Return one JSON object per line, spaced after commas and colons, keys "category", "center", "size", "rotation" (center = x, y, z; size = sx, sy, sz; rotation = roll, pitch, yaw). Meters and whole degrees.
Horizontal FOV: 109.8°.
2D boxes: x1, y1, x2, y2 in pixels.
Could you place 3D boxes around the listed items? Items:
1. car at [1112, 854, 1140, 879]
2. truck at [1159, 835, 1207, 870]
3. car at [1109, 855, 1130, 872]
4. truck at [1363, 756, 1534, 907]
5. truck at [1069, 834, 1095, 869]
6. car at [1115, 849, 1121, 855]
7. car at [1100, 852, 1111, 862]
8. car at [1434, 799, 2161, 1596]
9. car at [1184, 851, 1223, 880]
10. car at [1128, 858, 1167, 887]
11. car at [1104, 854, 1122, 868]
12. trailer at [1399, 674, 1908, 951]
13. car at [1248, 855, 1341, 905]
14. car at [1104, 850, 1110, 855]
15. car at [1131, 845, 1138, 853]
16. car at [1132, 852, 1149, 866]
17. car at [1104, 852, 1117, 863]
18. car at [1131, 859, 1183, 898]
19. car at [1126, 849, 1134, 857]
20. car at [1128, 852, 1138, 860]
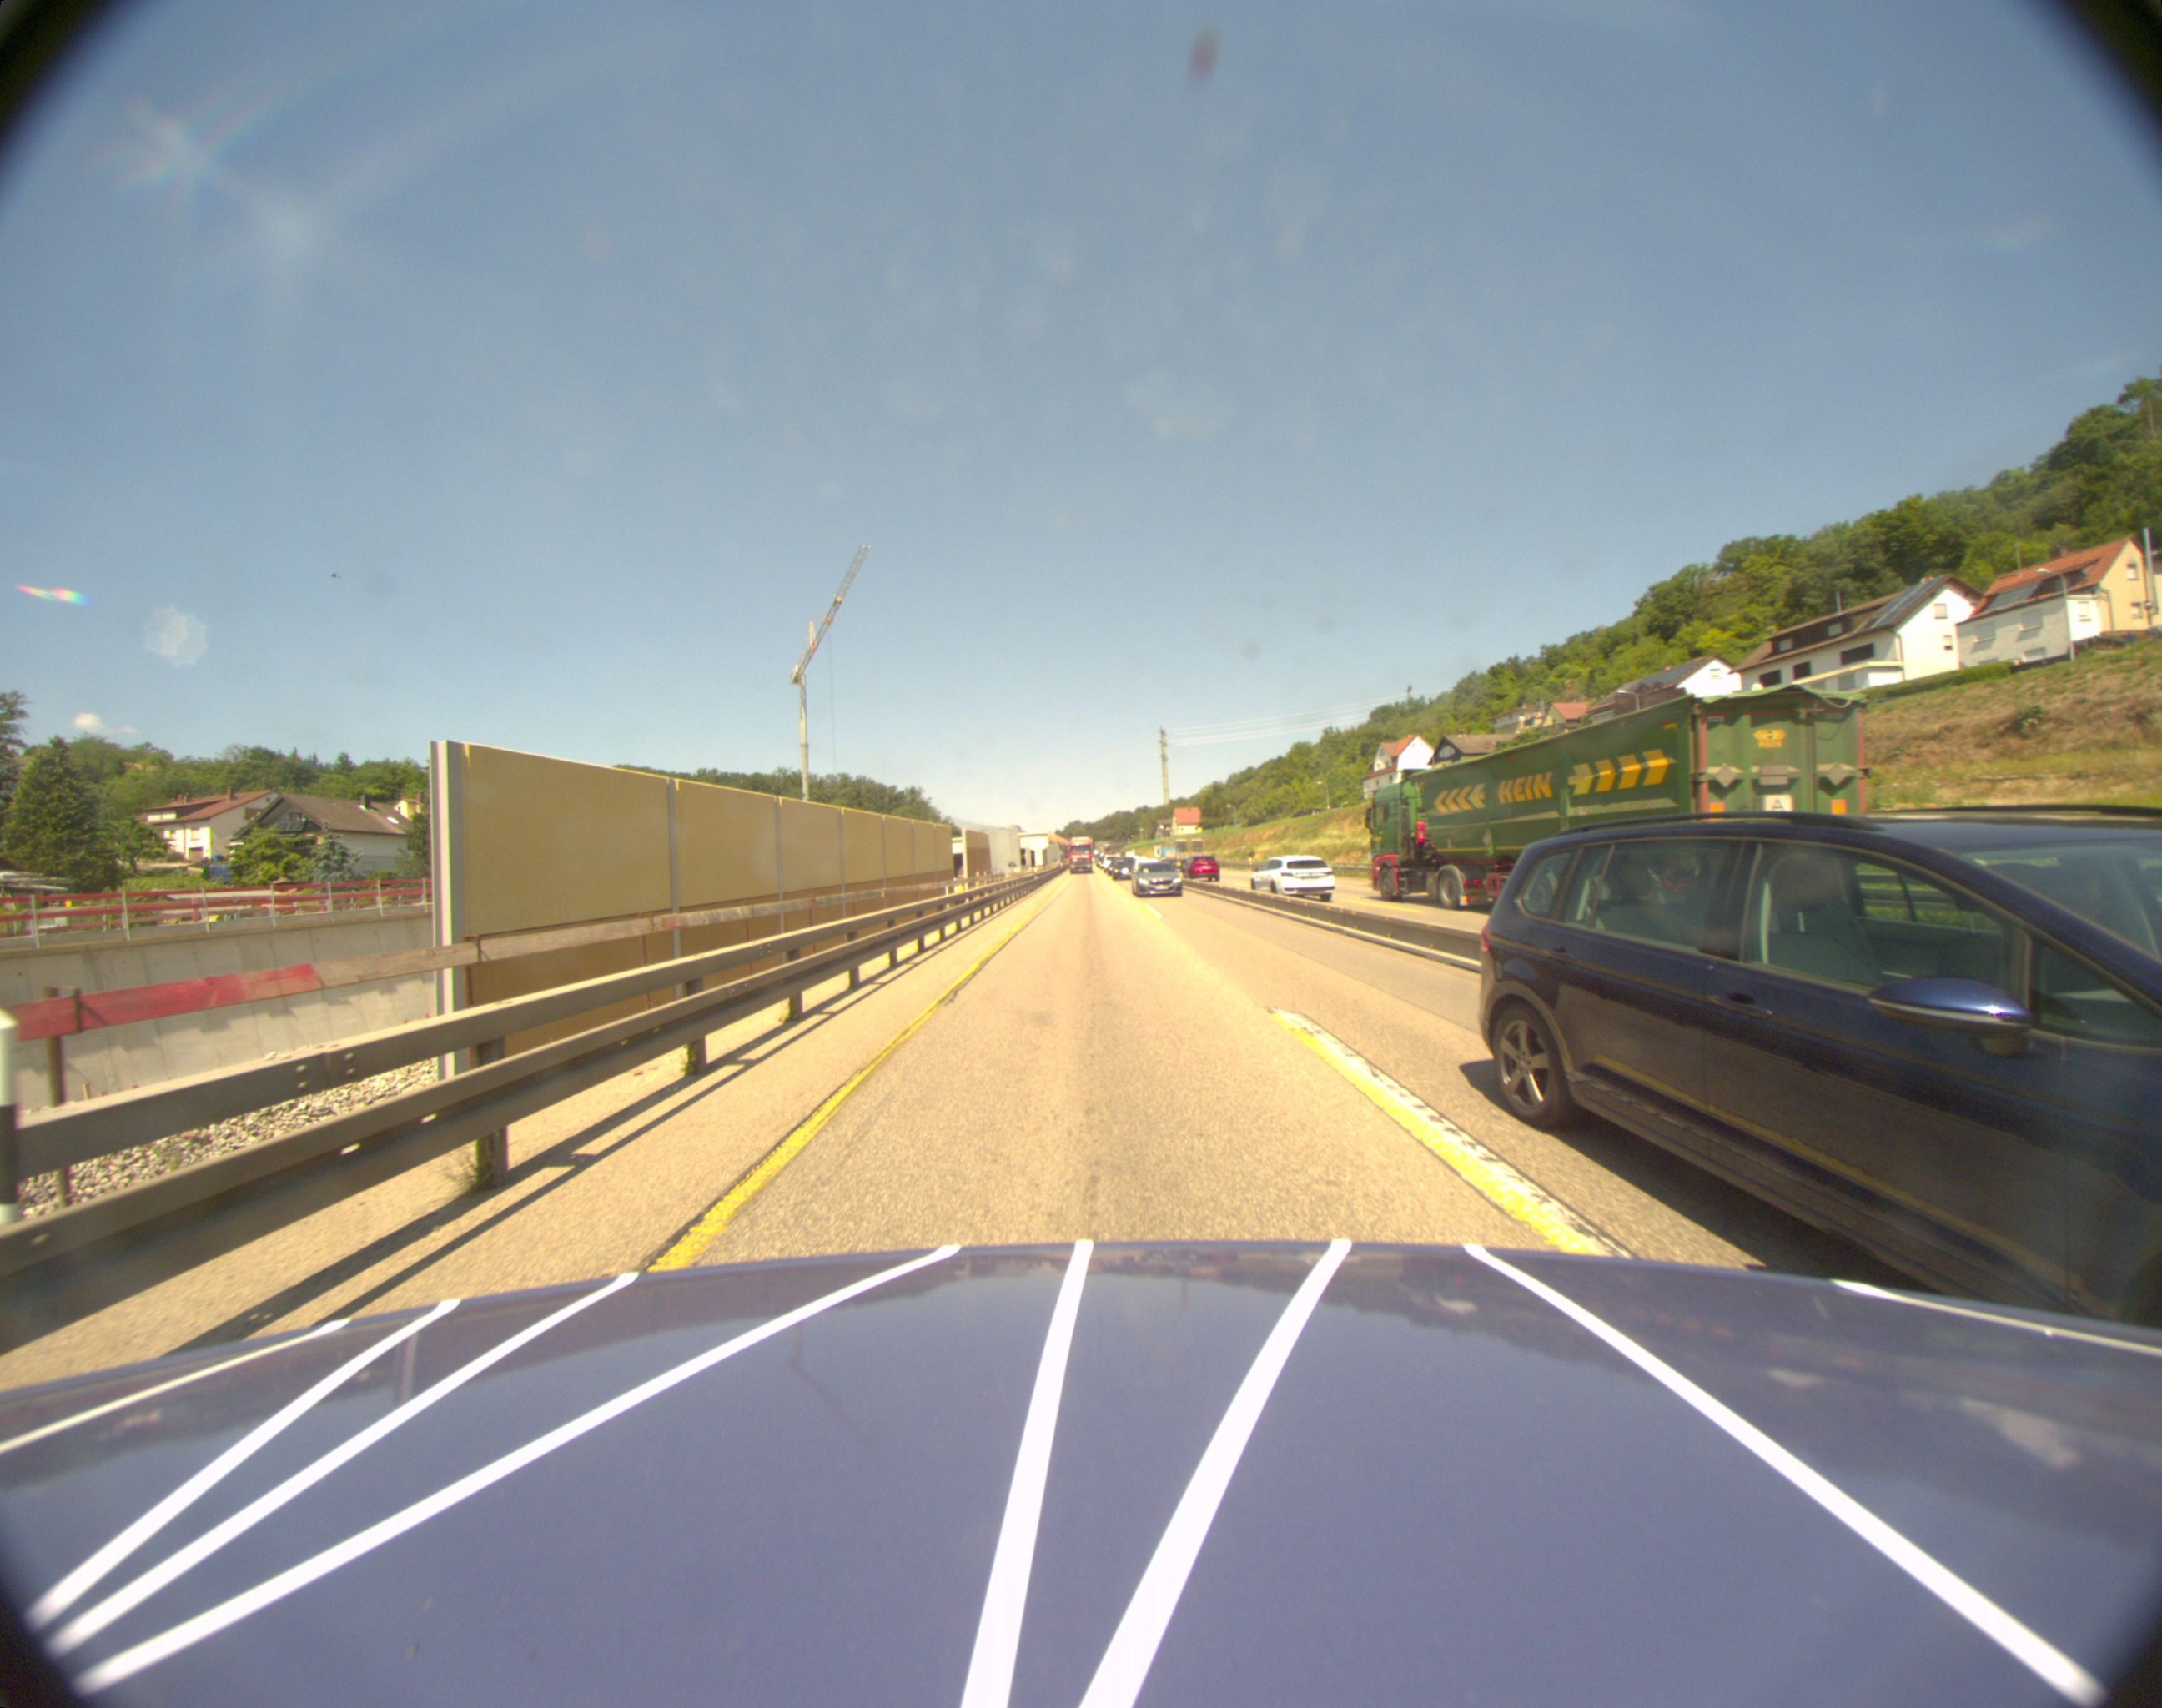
{"category": "car", "center": [3.263, 0.889, 55.828], "size": [1.780, 1.727, 4.336], "rotation": [-2, 0, 1]}
{"category": "truck", "center": [10.691, -0.112, 81.607], "size": [2.770, 3.303, 15.935], "rotation": [-2, 0, 0]}
{"category": "car", "center": [3.507, 0.845, 70.312], "size": [1.780, 1.486, 4.336], "rotation": [-2, 0, 1]}
{"category": "truck", "center": [10.514, -0.589, 22.216], "size": [2.902, 3.915, 4.178], "rotation": [-2, 0, 0]}
{"category": "truck", "center": [0.180, -0.243, 86.656], "size": [2.605, 3.704, 10.536], "rotation": [-2, 0, 1]}
{"category": "car", "center": [11.966, -0.631, 242.973], "size": [1.679, 1.686, 4.044], "rotation": [-2, 0, 0]}
{"category": "car", "center": [4.097, 0.480, 126.419], "size": [1.780, 1.486, 4.336], "rotation": [-2, 0, 1]}
{"category": "car", "center": [3.189, 0.716, 2.612], "size": [1.780, 1.708, 4.652], "rotation": [-2, 0, 1]}
{"category": "car", "center": [7.533, 0.692, 47.118], "size": [1.816, 1.706, 4.045], "rotation": [-2, 0, 1]}
{"category": "car", "center": [3.563, 0.958, 41.191], "size": [1.780, 1.447, 4.336], "rotation": [-2, 0, 1]}
{"category": "car", "center": [3.505, 0.753, 83.853], "size": [1.780, 1.486, 4.336], "rotation": [-2, 0, 1]}
{"category": "trailer", "center": [10.484, -0.586, 16.256], "size": [2.920, 3.915, 10.526], "rotation": [-2, 0, 0]}
{"category": "car", "center": [6.960, 0.796, 25.255], "size": [1.777, 1.461, 4.440], "rotation": [-2, 0, 0]}
{"category": "car", "center": [8.720, -0.512, 254.579], "size": [1.679, 1.686, 4.044], "rotation": [-2, 0, 0]}
{"category": "car", "center": [15.057, -1.508, 213.706], "size": [1.679, 2.203, 4.044], "rotation": [-2, 0, 0]}
{"category": "car", "center": [7.257, 0.595, 92.234], "size": [1.679, 1.706, 4.044], "rotation": [-2, 0, 0]}
{"category": "car", "center": [4.245, 0.488, 110.159], "size": [1.780, 1.486, 4.336], "rotation": [-2, 0, 1]}
{"category": "car", "center": [3.081, 0.952, 31.578], "size": [1.780, 1.447, 4.336], "rotation": [-2, 0, 1]}
{"category": "car", "center": [11.351, -0.253, 175.840], "size": [1.679, 1.615, 4.044], "rotation": [-2, 0, 0]}
{"category": "car", "center": [10.333, 0.414, 152.074], "size": [1.679, 1.615, 4.044], "rotation": [-2, 0, 0]}
